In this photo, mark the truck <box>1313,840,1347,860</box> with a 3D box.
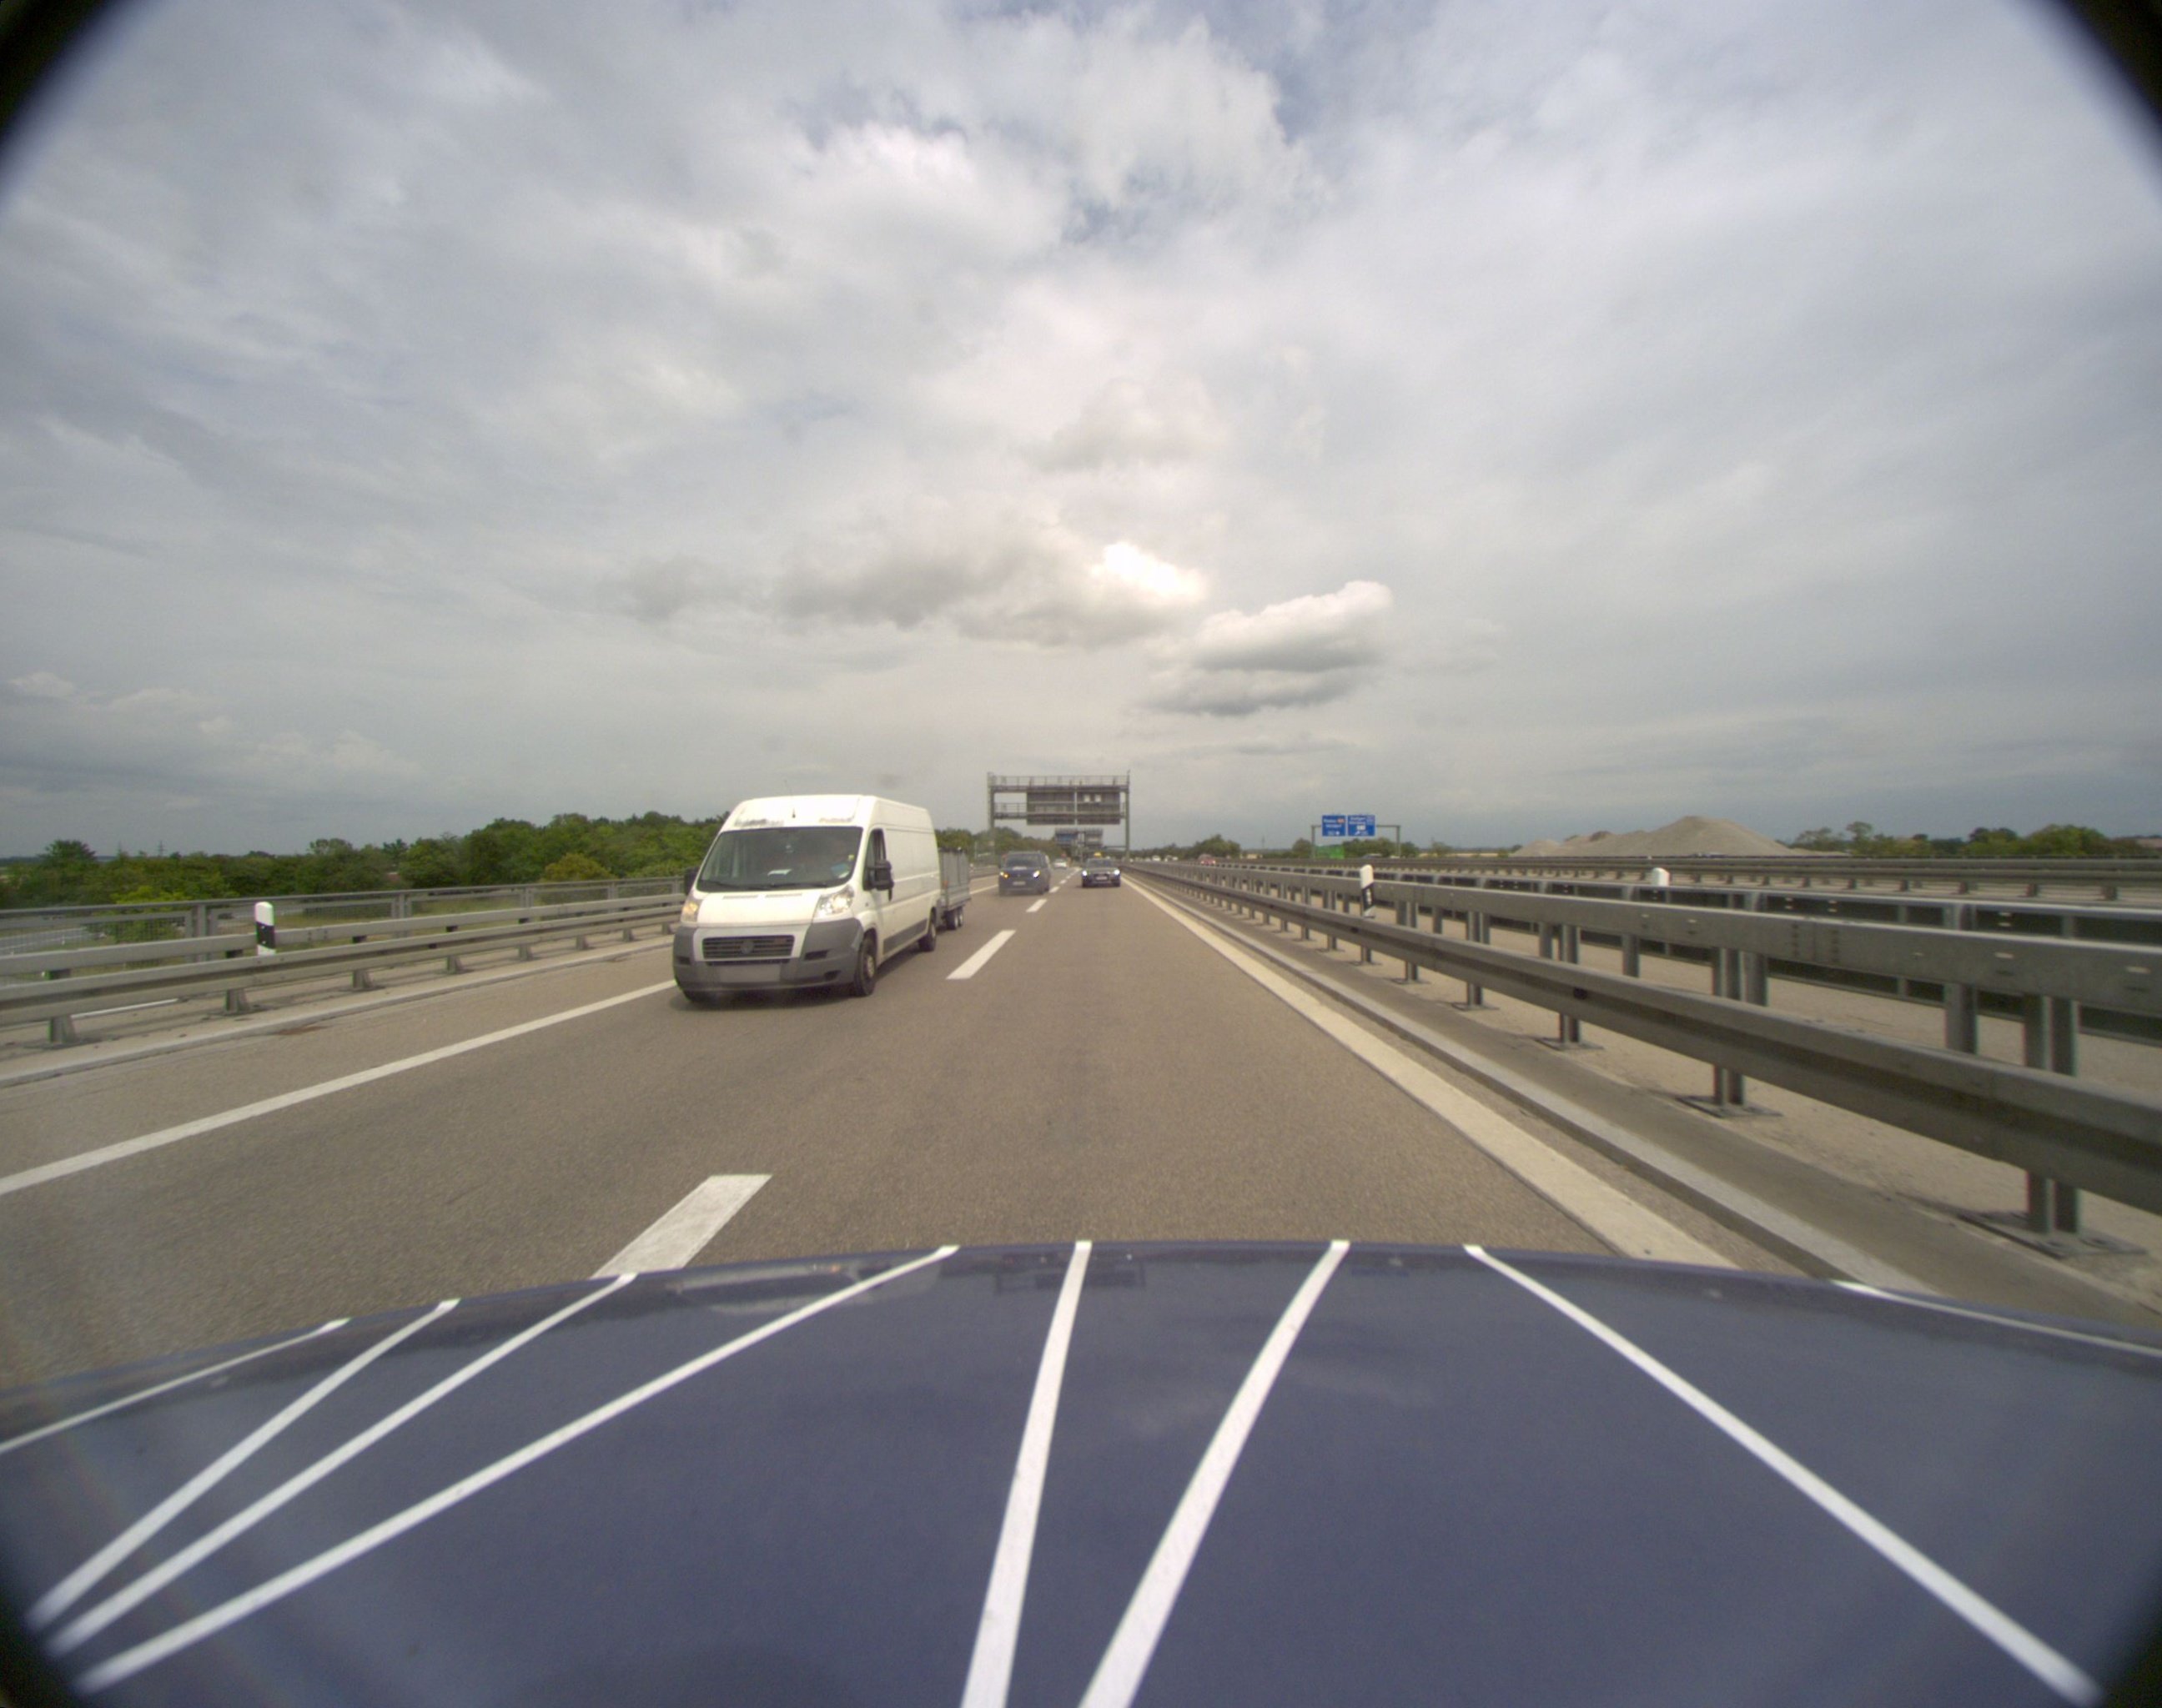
[{"bbox_3d":[47.171,-0.704,144.468,3.020,3.613,10.437,-2,0,1],"label":"truck"}]

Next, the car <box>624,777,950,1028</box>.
[{"bbox_3d":[-3.468,0.496,10.684,2.119,2.439,6.151,-2,0,0],"label":"car"}]

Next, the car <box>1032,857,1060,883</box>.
[{"bbox_3d":[-2.724,1.206,59.373,1.846,1.870,4.289,-2,0,1],"label":"car"}]

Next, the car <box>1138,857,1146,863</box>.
[{"bbox_3d":[17.698,1.753,220.879,1.999,1.739,3.999,-2,0,-1],"label":"car"}]

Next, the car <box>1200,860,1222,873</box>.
[{"bbox_3d":[15.768,1.507,92.628,1.824,1.537,4.354,-2,0,-1],"label":"car"}]

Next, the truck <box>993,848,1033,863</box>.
[{"bbox_3d":[-19.147,0.373,215.228,11.815,3.835,2.839,-2,0,-43],"label":"truck"}]

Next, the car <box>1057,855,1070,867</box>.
[{"bbox_3d":[-2.648,1.060,116.464,1.846,1.870,4.289,-2,0,1],"label":"car"}]

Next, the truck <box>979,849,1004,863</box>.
[{"bbox_3d":[-24.744,0.588,209.972,5.940,3.780,2.894,-2,-1,-43],"label":"truck"}]

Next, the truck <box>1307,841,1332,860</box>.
[{"bbox_3d":[47.240,-0.691,150.598,3.049,3.588,5.894,-2,0,0],"label":"truck"}]

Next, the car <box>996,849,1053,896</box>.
[{"bbox_3d":[-2.331,0.753,32.306,1.998,1.783,4.000,-2,0,1],"label":"car"}]

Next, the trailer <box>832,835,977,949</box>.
[{"bbox_3d":[-3.505,0.696,16.022,1.859,2.002,4.632,-2,0,1],"label":"trailer"}]

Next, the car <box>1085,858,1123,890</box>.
[{"bbox_3d":[1.115,0.956,37.786,1.747,1.380,3.999,-2,1,1],"label":"car"}]

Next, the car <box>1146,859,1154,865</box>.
[{"bbox_3d":[21.590,2.486,237.029,1.999,1.870,3.999,-2,0,-1],"label":"car"}]
